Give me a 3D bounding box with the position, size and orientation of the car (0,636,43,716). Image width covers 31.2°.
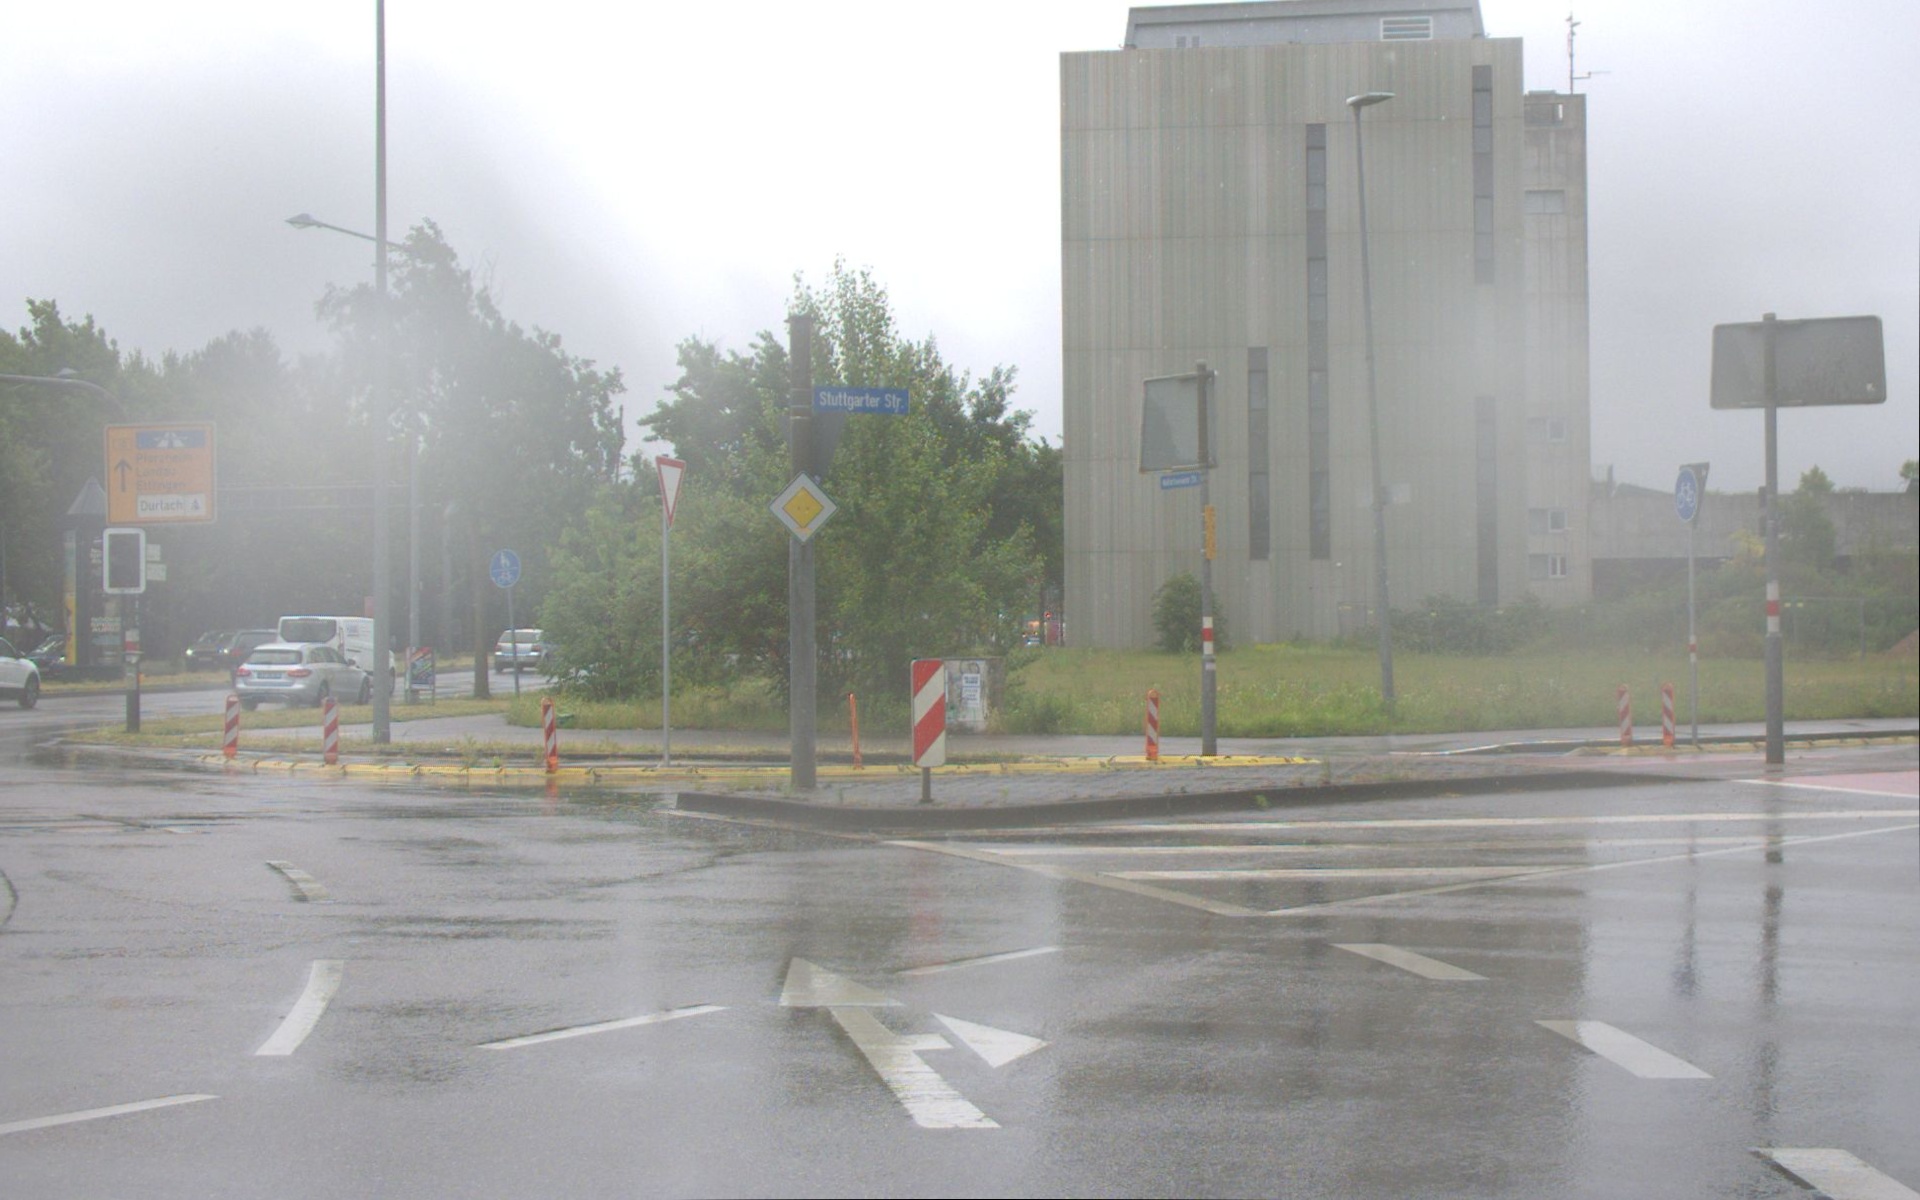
[{"bbox_3d":[-20.503,1.561,71.171,1.681,1.642,3.946,1,-2,5],"label":"car"}]

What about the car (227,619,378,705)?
[{"bbox_3d":[-14.180,1.317,74.404,1.784,1.804,4.836,0,0,7],"label":"car"}]

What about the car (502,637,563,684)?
[{"bbox_3d":[-14.184,1.999,114.244,1.688,1.487,3.251,0,0,-1],"label":"car"}]

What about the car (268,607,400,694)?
[{"bbox_3d":[-15.521,1.284,85.442,1.784,2.029,3.997,1,-2,12],"label":"car"}]
